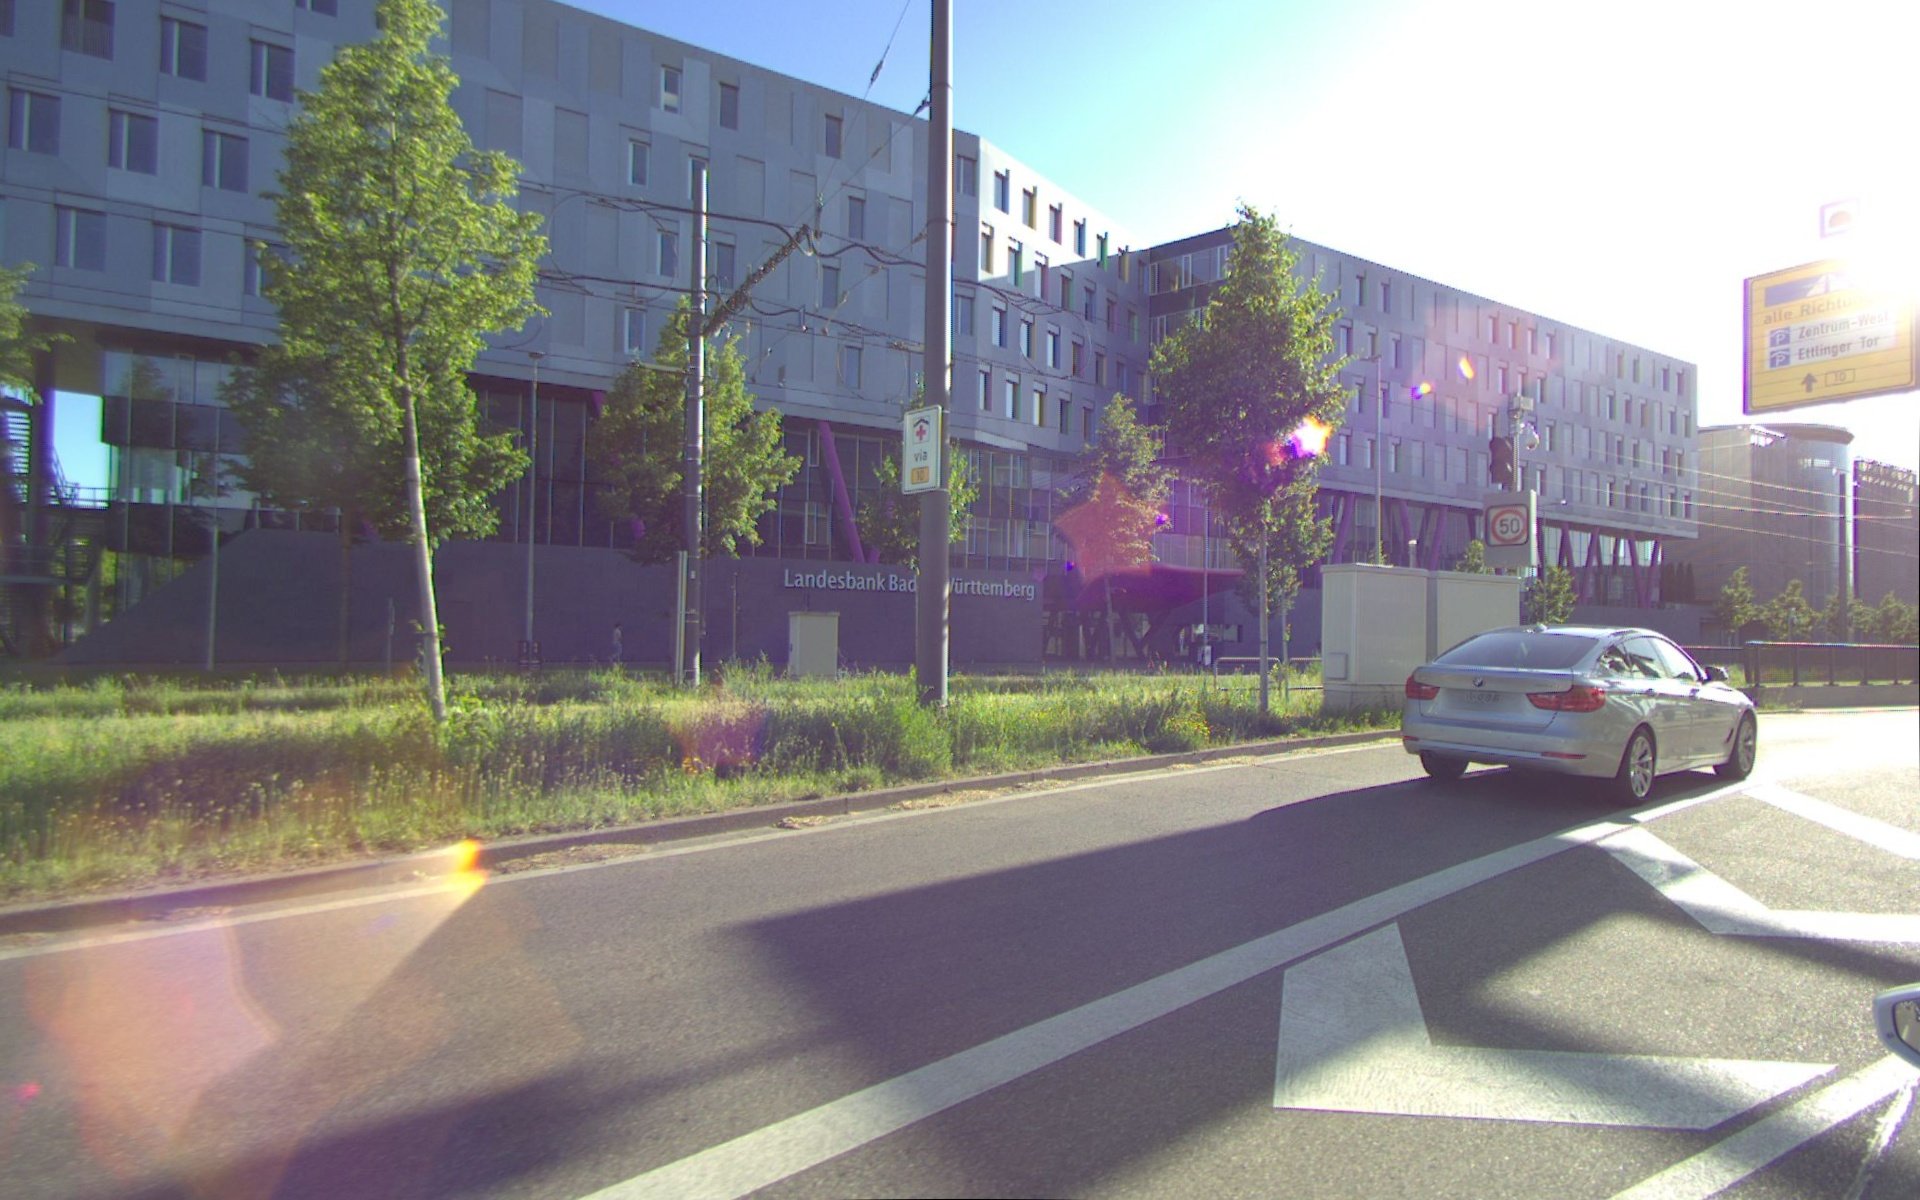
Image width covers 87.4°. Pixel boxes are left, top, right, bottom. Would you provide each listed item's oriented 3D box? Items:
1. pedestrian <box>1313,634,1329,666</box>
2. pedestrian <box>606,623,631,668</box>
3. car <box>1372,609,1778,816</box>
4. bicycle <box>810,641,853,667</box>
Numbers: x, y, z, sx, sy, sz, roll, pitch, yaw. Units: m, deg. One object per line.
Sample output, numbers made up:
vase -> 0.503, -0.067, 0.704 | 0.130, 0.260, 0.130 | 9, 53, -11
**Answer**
pedestrian -> 23.690, 3.288, 65.912 | 0.681, 2.040, 0.733 | 2, -2, -29
pedestrian -> -14.331, 1.897, 42.183 | 0.861, 1.846, 0.717 | 1, -2, -30
car -> 6.214, 0.931, 9.890 | 4.866, 1.547, 1.785 | 2, 0, -38
bicycle -> -6.051, 2.523, 47.227 | 1.952, 1.188, 0.517 | 2, -2, -30
